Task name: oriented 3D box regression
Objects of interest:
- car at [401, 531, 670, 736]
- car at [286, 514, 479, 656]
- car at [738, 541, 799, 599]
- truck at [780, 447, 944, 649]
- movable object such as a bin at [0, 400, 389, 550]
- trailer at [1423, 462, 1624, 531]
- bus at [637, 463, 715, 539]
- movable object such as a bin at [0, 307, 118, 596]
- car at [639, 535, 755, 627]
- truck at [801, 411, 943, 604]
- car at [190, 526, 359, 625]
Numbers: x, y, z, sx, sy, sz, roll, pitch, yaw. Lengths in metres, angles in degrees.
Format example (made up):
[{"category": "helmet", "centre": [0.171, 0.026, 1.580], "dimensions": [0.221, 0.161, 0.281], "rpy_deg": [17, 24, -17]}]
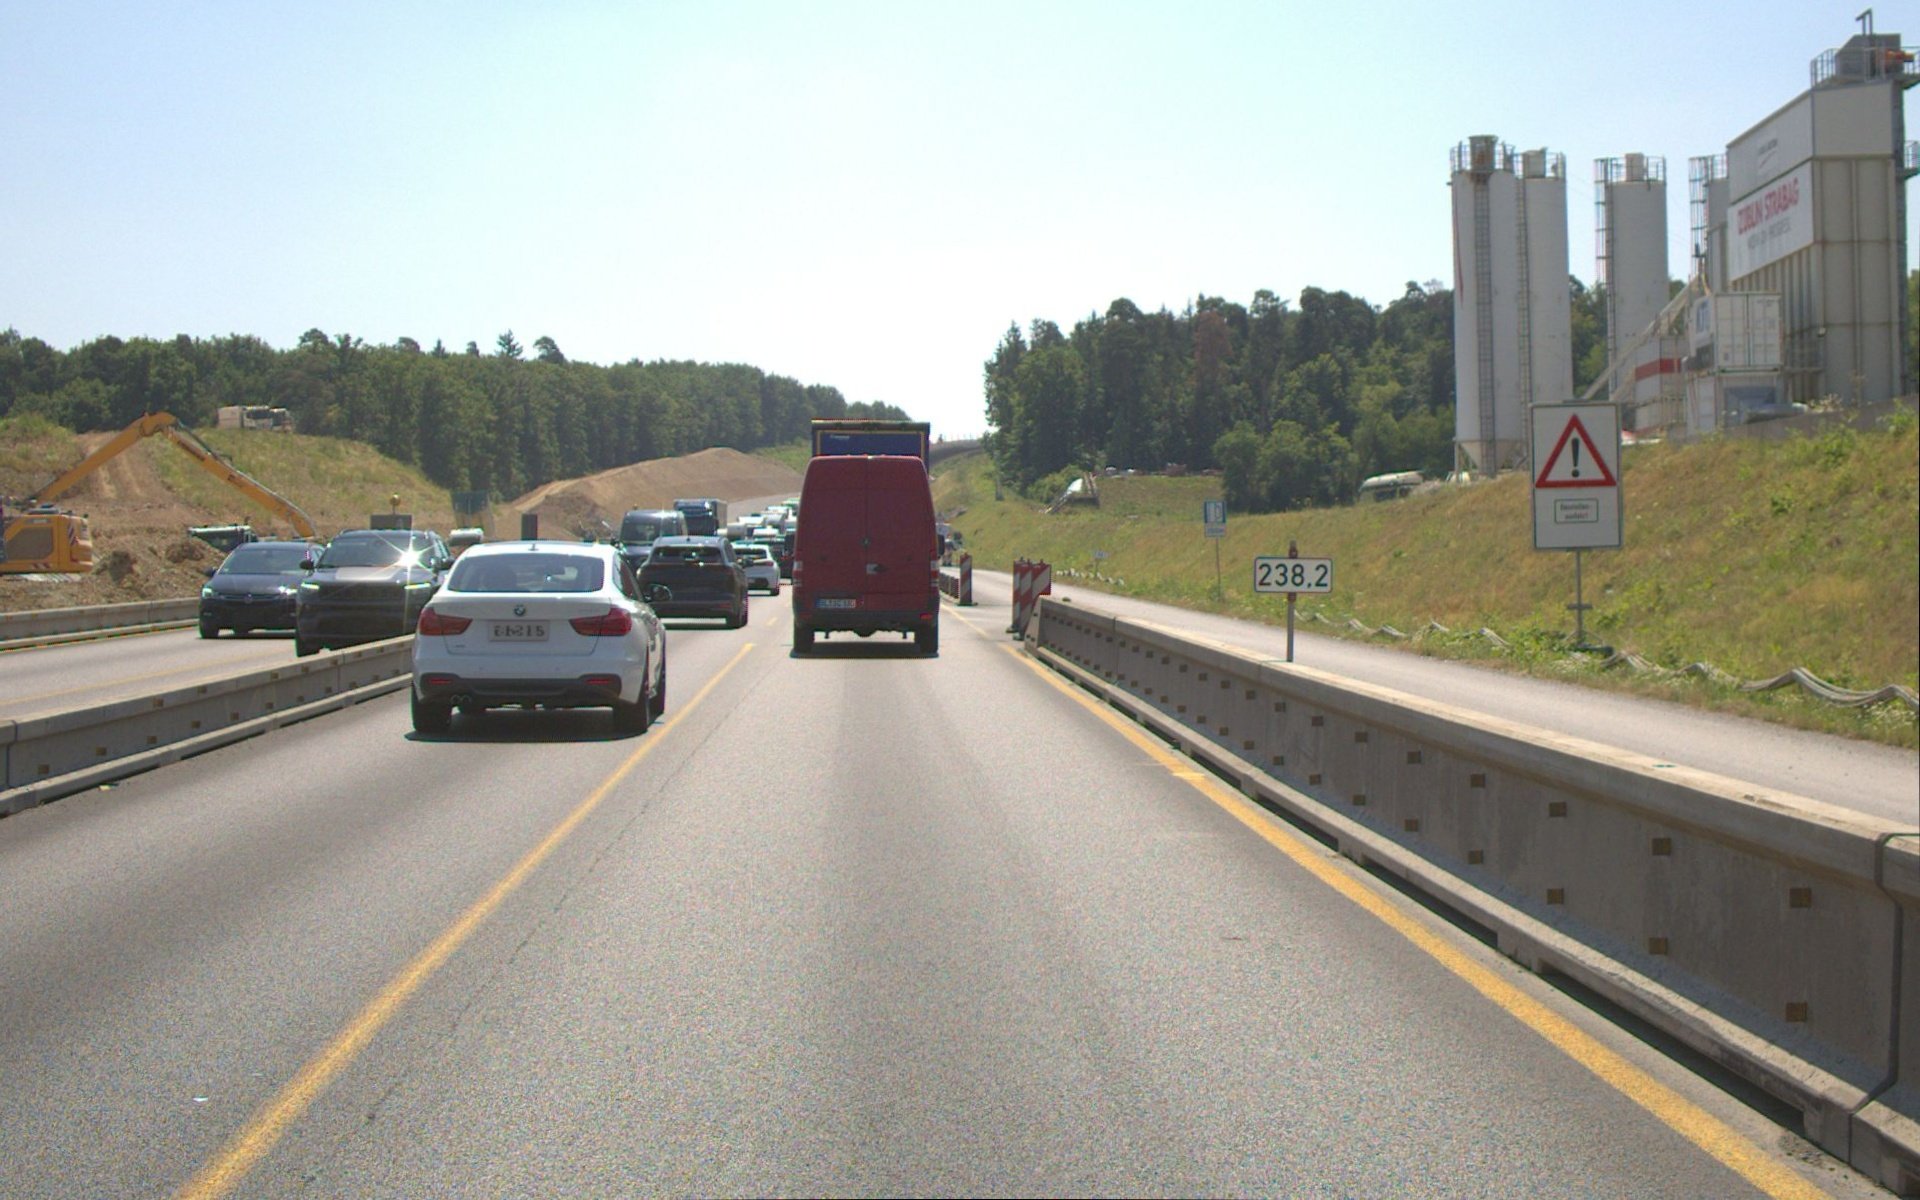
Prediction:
[{"category": "car", "centre": [-3.407, 0.208, 28.401], "dimensions": [1.795, 1.529, 5.074], "rpy_deg": [0, 1, -2]}, {"category": "car", "centre": [-7.481, -0.237, 44.931], "dimensions": [1.771, 1.735, 5.039], "rpy_deg": [-1, 1, -1]}, {"category": "car", "centre": [-6.772, -1.083, 121.852], "dimensions": [1.993, 2.007, 4.000], "rpy_deg": [-1, 1, -1]}, {"category": "truck", "centre": [-1.353, -0.743, 48.285], "dimensions": [2.111, 2.624, 6.485], "rpy_deg": [-1, 1, -1]}, {"category": "movable object such as a bin", "centre": [-38.249, -6.236, 172.178], "dimensions": [18.709, 7.206, 3.616], "rpy_deg": [-1, 1, -3]}, {"category": "trailer", "centre": [27.236, -5.010, 166.253], "dimensions": [8.994, 3.218, 3.332], "rpy_deg": [-1, 1, -16]}, {"category": "bus", "centre": [-17.263, -5.995, 210.051], "dimensions": [3.942, 4.400, 17.202], "rpy_deg": [-1, 1, -2]}, {"category": "movable object such as a bin", "centre": [-27.161, -3.970, 93.392], "dimensions": [7.637, 7.687, 3.446], "rpy_deg": [-1, 1, 0]}, {"category": "car", "centre": [-4.596, -0.357, 60.433], "dimensions": [1.795, 1.529, 3.931], "rpy_deg": [-1, 1, -1]}, {"category": "truck", "centre": [-1.962, -2.087, 78.373], "dimensions": [3.015, 4.138, 8.273], "rpy_deg": [-1, 1, -1]}, {"category": "car", "centre": [-10.822, -0.418, 54.539], "dimensions": [1.860, 1.495, 4.577], "rpy_deg": [-1, 1, -1]}]
